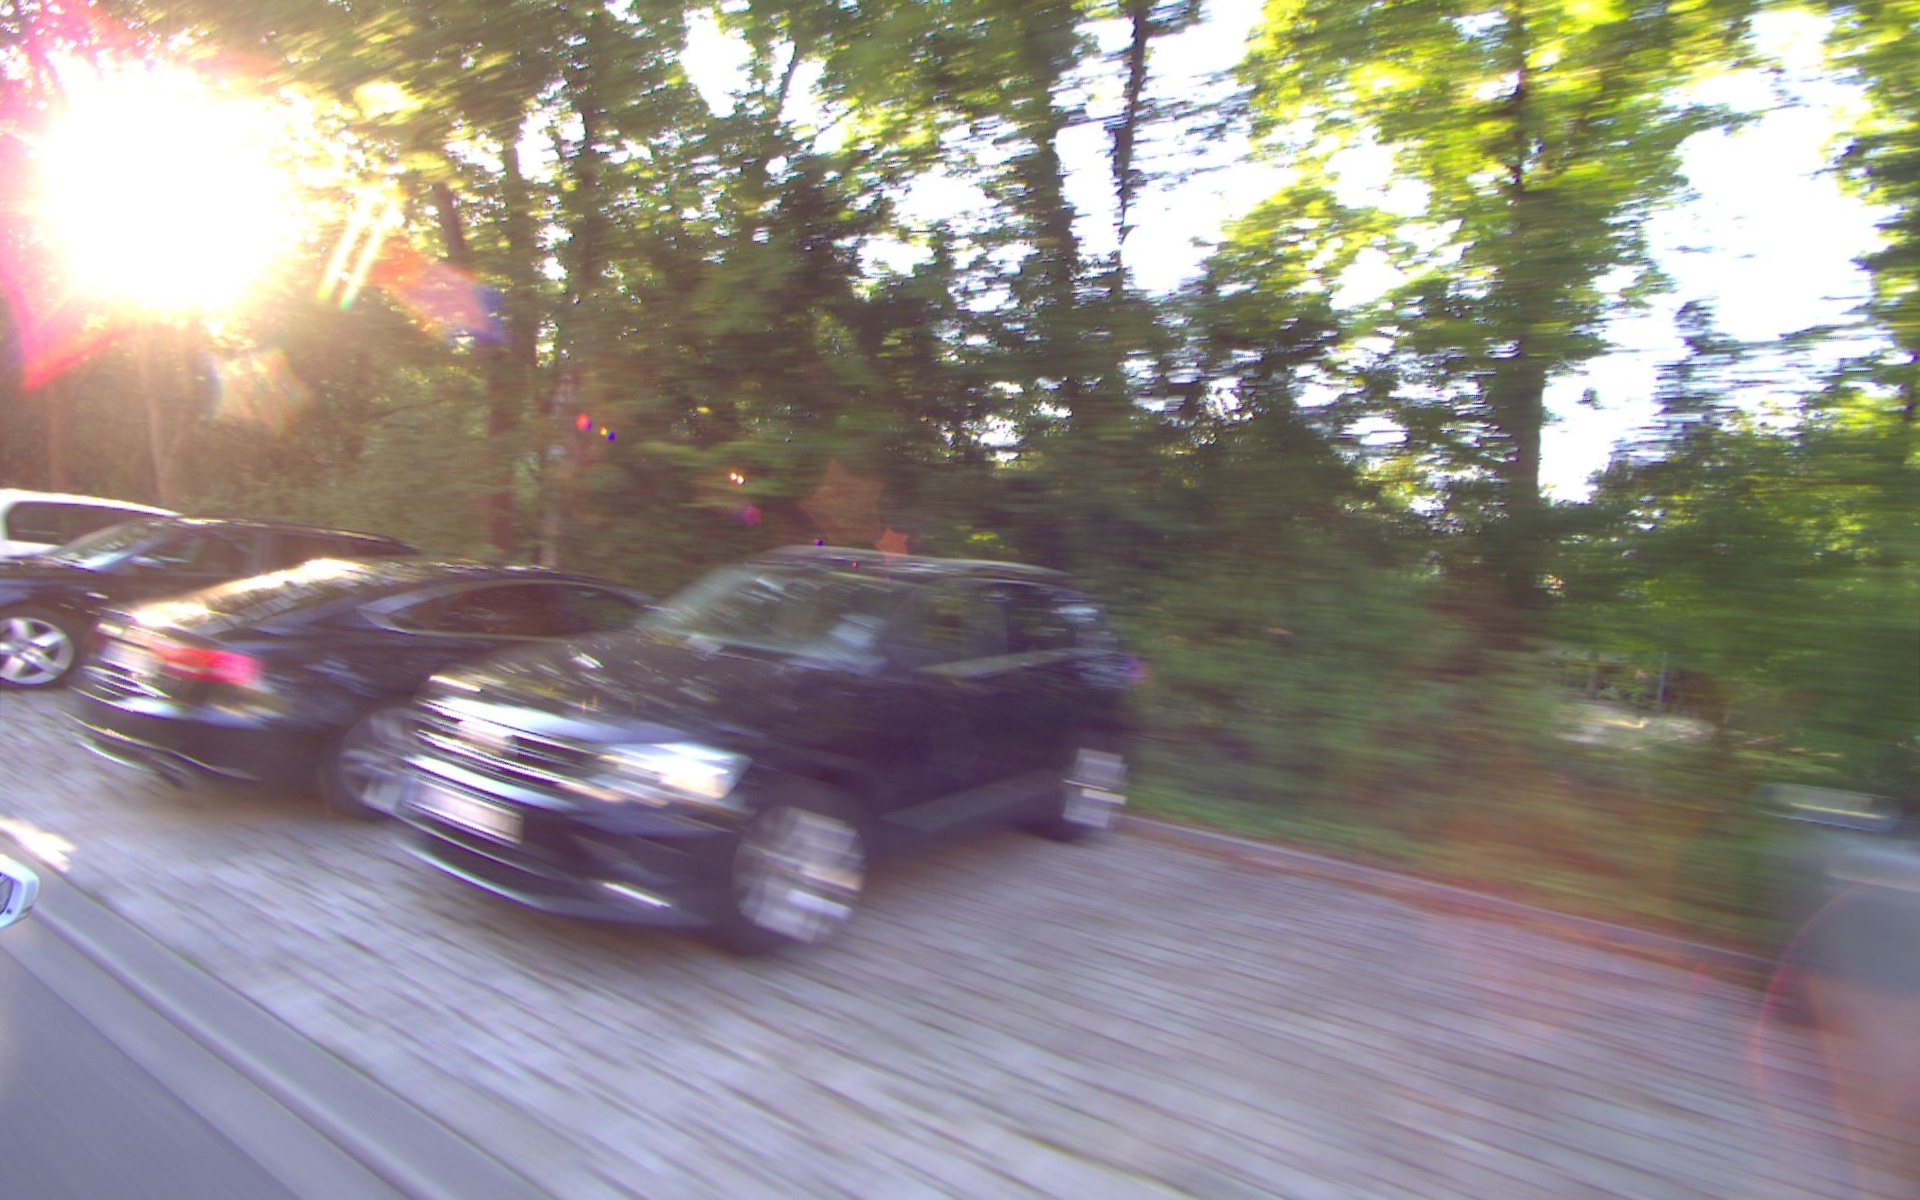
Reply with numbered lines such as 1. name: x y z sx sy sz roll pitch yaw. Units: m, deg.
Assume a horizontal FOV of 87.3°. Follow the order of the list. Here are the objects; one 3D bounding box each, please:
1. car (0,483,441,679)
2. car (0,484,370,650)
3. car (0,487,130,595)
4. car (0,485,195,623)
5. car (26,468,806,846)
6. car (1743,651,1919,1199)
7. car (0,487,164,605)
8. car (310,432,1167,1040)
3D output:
1. car: -7.190 -0.142 8.997 1.703 1.467 4.157 6 1 35
2. car: -8.792 -0.325 10.773 1.797 1.467 3.807 6 1 35
3. car: -15.304 -1.016 15.198 1.794 1.529 3.814 6 0 28
4. car: -11.582 -0.629 11.313 1.987 1.467 4.247 6 0 30
5. car: -2.985 0.273 6.400 1.697 1.574 3.989 6 1 31
6. car: 3.660 1.033 2.837 1.697 1.573 3.991 6 0 31
7. car: -13.440 -0.833 13.531 1.845 1.467 3.814 6 0 28
8. car: -0.612 0.421 5.276 1.852 1.812 4.247 6 1 31
